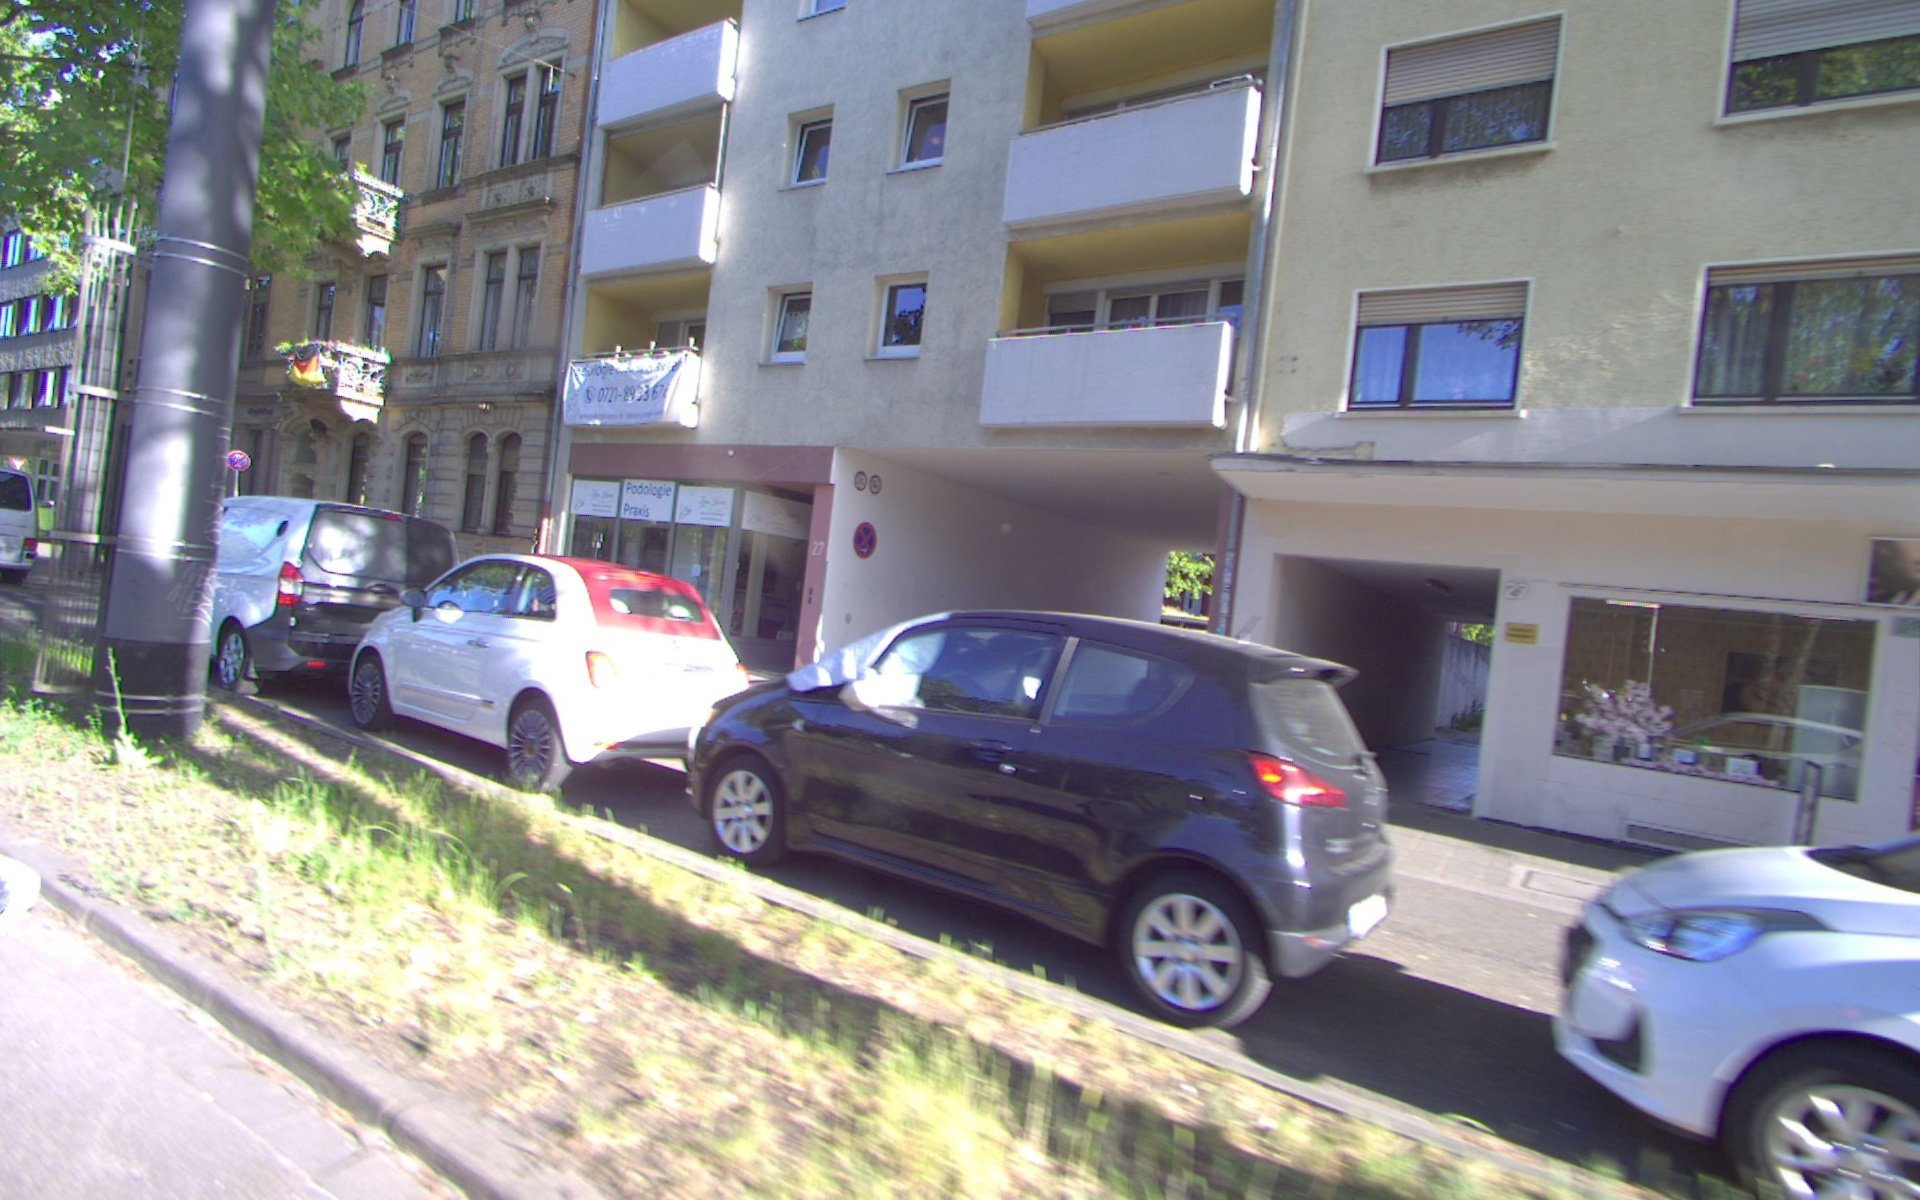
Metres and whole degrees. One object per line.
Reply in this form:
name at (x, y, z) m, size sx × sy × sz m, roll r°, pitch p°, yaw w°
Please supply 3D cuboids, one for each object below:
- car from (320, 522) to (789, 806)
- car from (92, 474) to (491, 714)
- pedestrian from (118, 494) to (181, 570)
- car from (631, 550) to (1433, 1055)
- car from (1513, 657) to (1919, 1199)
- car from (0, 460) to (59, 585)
car at (-3.115, 0.384, 7.500) m, size 3.438 × 1.497 × 1.513 m, roll 7°, pitch -2°, yaw 36°
car at (-6.405, -0.124, 9.483) m, size 4.076 × 1.687 × 1.628 m, roll 7°, pitch -2°, yaw 36°
pedestrian at (-21.667, -1.812, 26.898) m, size 0.704 × 1.862 × 1.000 m, roll 7°, pitch 0°, yaw 35°
car at (0.205, 0.740, 5.210) m, size 3.727 × 1.502 × 1.564 m, roll 7°, pitch -2°, yaw 35°
car at (3.781, 1.206, 2.919) m, size 3.635 × 1.493 × 1.630 m, roll 7°, pitch -2°, yaw 31°
car at (-16.887, -1.501, 16.538) m, size 4.723 × 1.836 × 1.868 m, roll 7°, pitch -2°, yaw 34°
